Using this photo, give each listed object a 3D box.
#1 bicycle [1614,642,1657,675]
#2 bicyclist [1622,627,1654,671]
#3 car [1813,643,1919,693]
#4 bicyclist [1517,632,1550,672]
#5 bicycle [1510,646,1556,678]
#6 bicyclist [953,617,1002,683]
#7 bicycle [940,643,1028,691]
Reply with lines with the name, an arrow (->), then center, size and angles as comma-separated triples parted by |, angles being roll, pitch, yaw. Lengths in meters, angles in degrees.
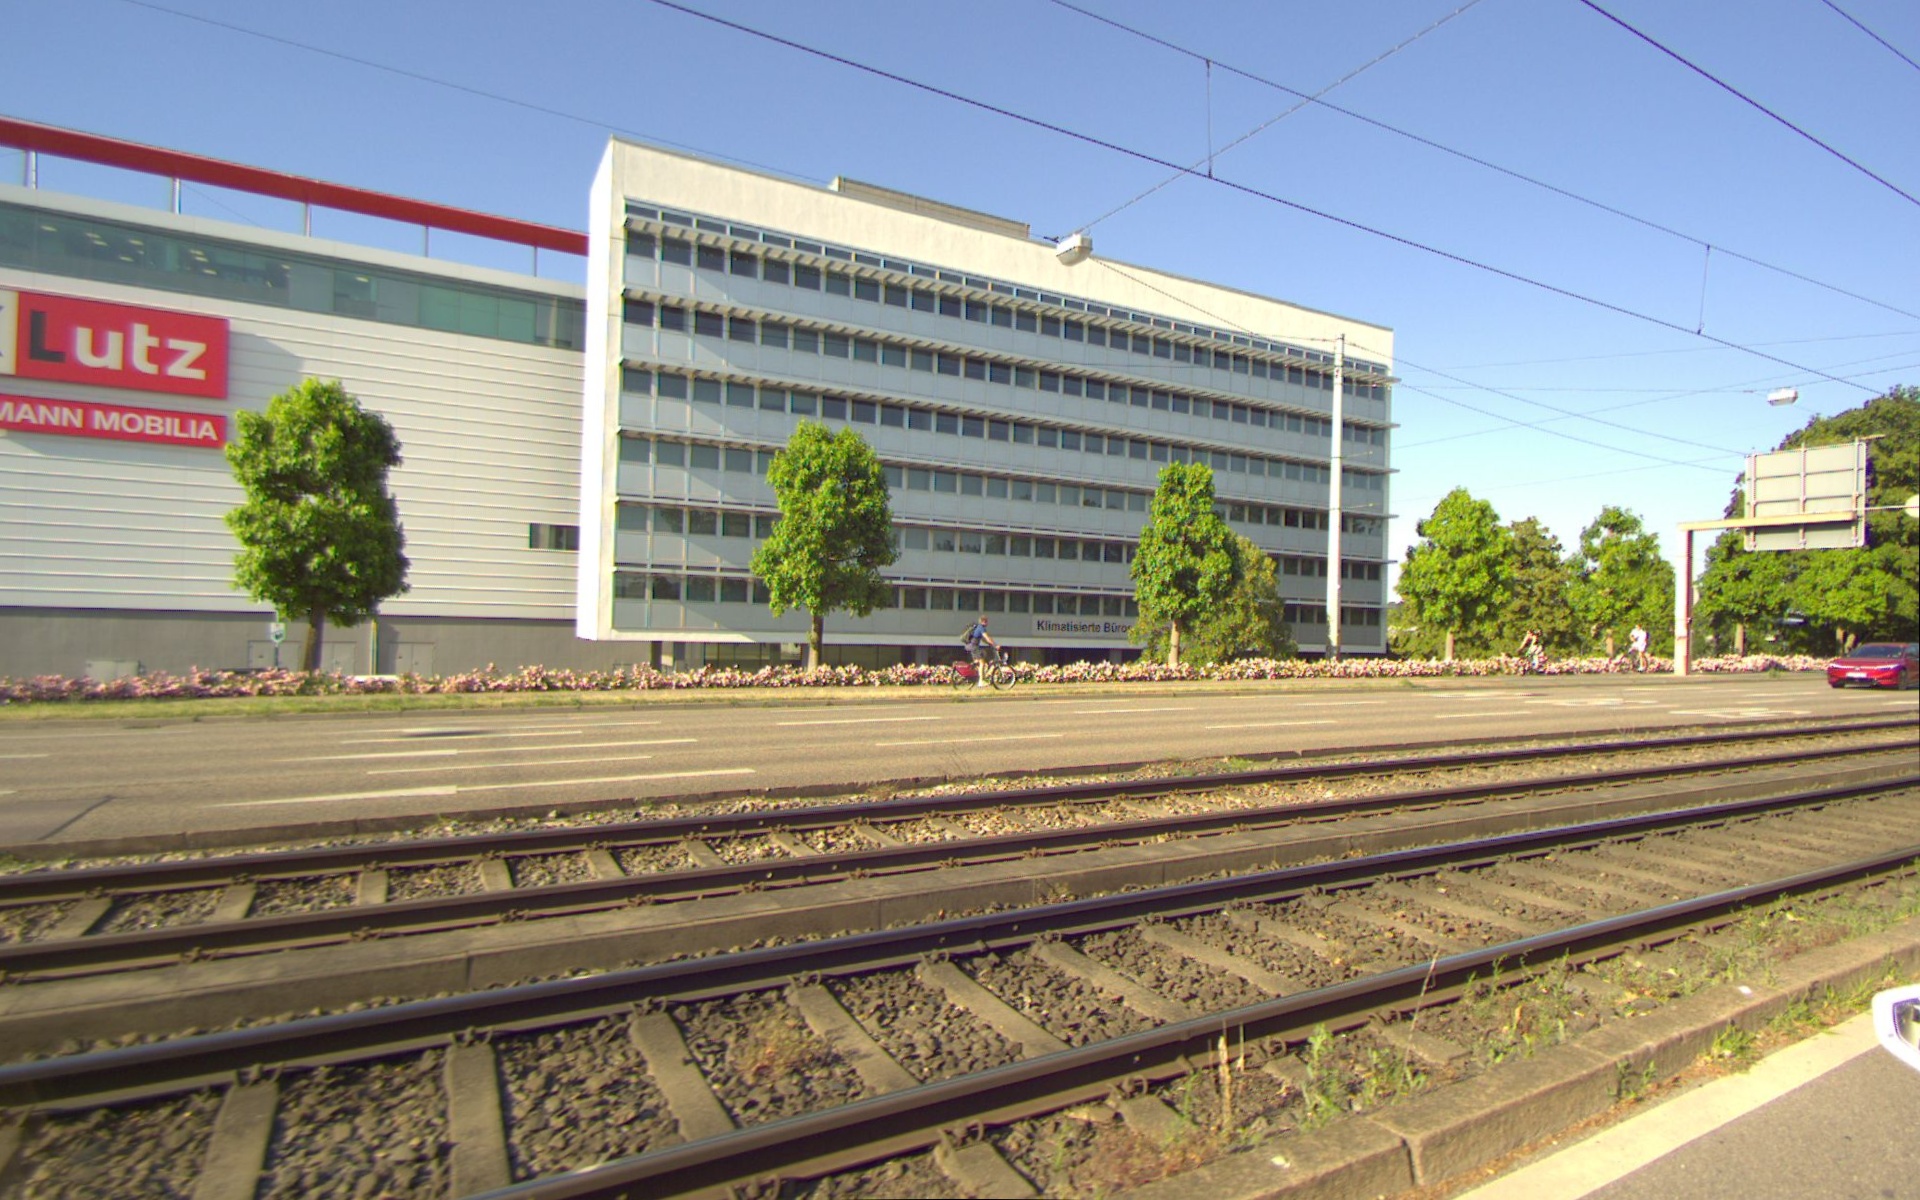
bicycle -> 26.490, 2.299, 39.372 | 1.726, 1.235, 0.600 | 1, 2, -28
bicyclist -> 26.592, 1.910, 39.408 | 0.951, 1.681, 0.600 | 1, 2, -27
car -> 31.207, 2.244, 34.059 | 4.830, 1.523, 2.030 | 1, -1, -30
bicyclist -> 20.612, 1.851, 36.087 | 0.870, 1.392, 0.621 | 1, 2, -30
bicycle -> 20.596, 2.209, 36.095 | 1.683, 1.073, 0.621 | 1, 2, -31
bicyclist -> 0.416, 1.198, 24.390 | 0.957, 1.533, 0.703 | 1, 2, -24
bicycle -> 0.588, 1.633, 24.482 | 1.999, 1.088, 0.703 | 1, 1, -24
